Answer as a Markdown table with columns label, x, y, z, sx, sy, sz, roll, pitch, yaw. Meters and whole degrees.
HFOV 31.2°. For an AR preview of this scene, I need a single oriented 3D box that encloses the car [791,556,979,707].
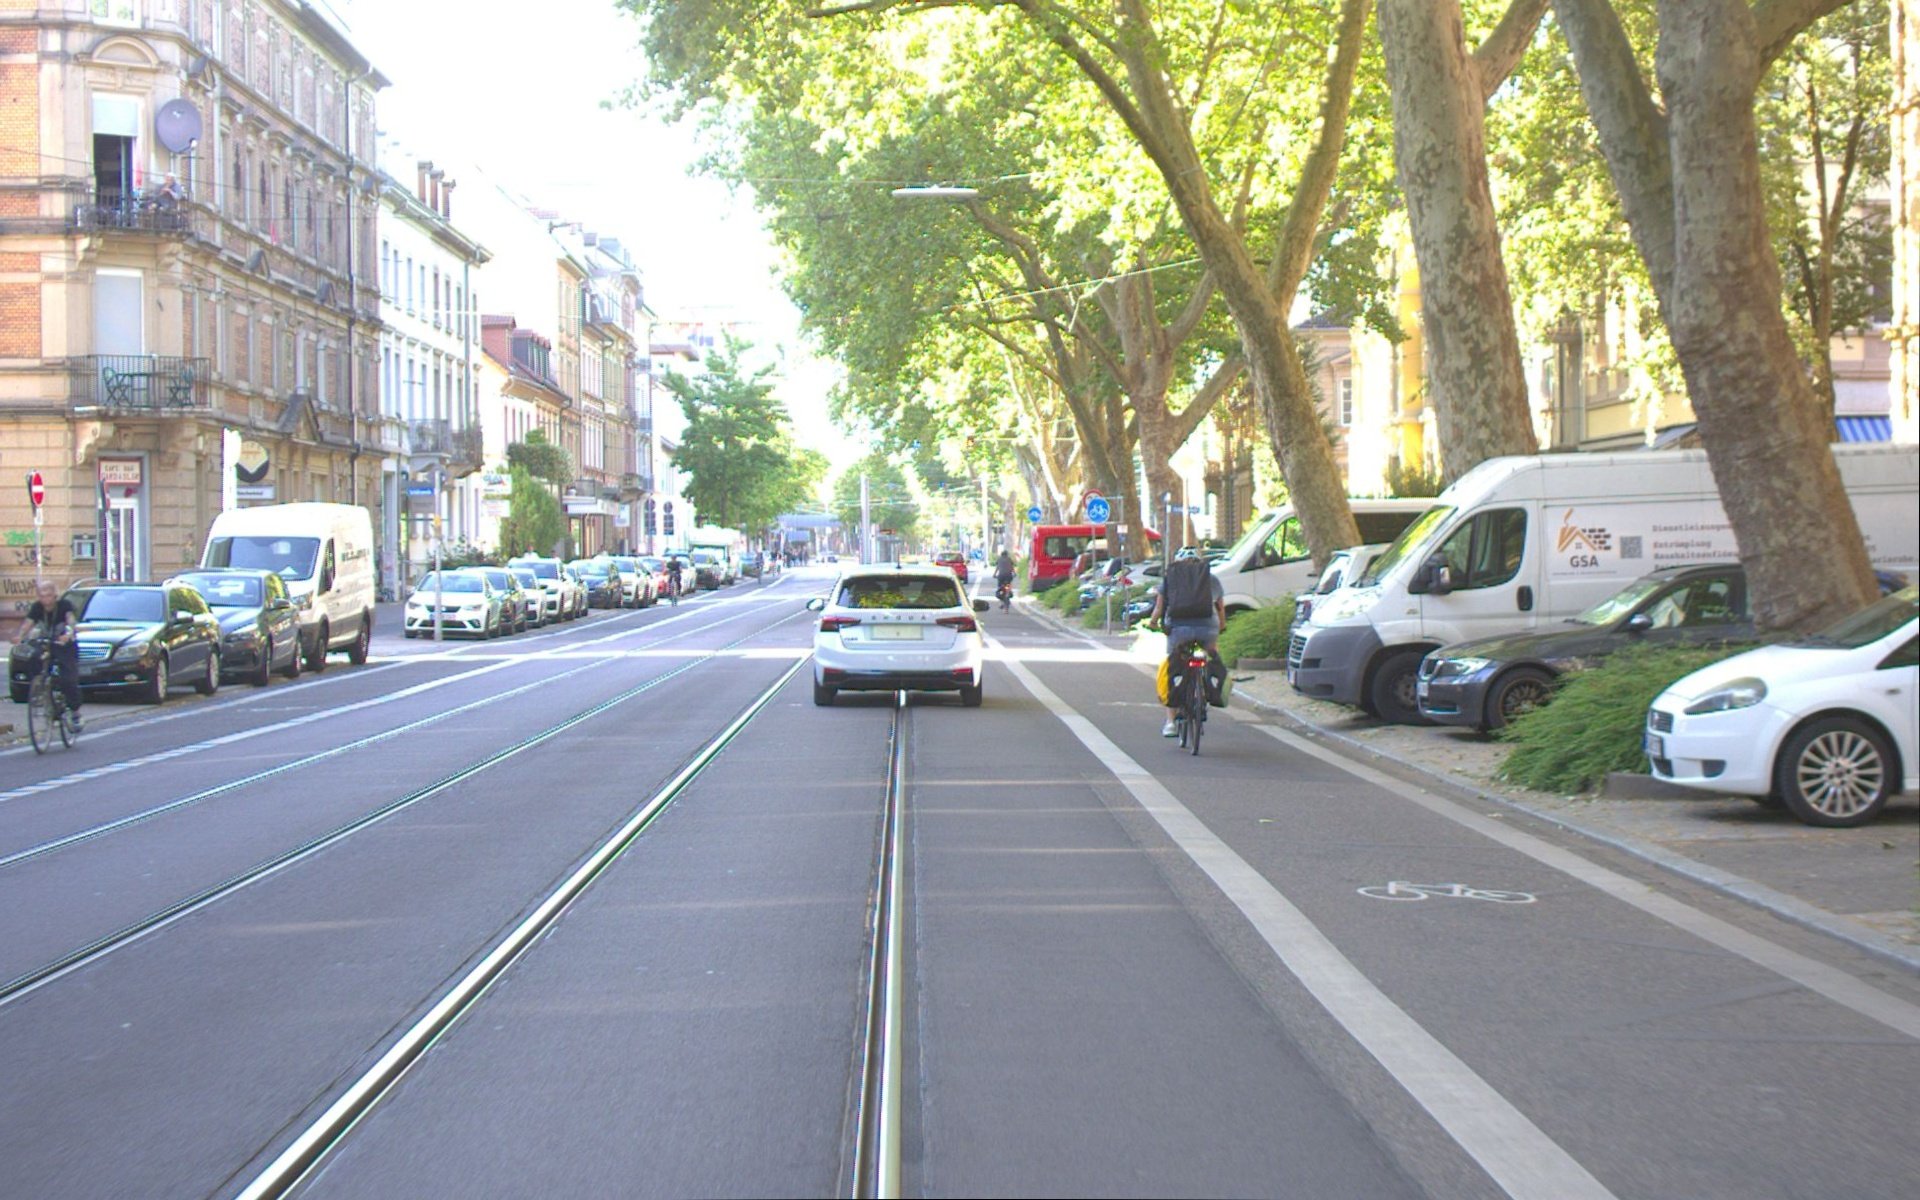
| label | x | y | z | sx | sy | sz | roll | pitch | yaw |
| --- | --- | --- | --- | --- | --- | --- | --- | --- | --- |
| car | -0.820 | 0.286 | 35.756 | 1.842 | 1.475 | 3.839 | 0 | 1 | -2 |

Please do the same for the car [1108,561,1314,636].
| label | x | y | z | sx | sy | sz | roll | pitch | yaw |
| --- | --- | --- | --- | --- | --- | --- | --- | --- | --- |
| car | 5.244 | -0.042 | 72.099 | 4.096 | 1.486 | 1.831 | -1 | 1 | -3 |

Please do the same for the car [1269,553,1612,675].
| label | x | y | z | sx | sy | sz | roll | pitch | yaw |
| --- | --- | --- | --- | --- | --- | --- | --- | --- | --- |
| car | 6.069 | 0.165 | 43.716 | 4.053 | 1.455 | 1.796 | -1 | 1 | -2 |

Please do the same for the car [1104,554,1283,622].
| label | x | y | z | sx | sy | sz | roll | pitch | yaw |
| --- | --- | --- | --- | --- | --- | --- | --- | --- | --- |
| car | 5.472 | -0.290 | 81.019 | 4.027 | 1.475 | 1.681 | -1 | 1 | -2 |

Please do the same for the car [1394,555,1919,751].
| label | x | y | z | sx | sy | sz | roll | pitch | yaw |
| --- | --- | --- | --- | --- | --- | --- | --- | --- | --- |
| car | 5.991 | 0.426 | 28.971 | 4.388 | 1.546 | 1.783 | 1 | 1 | -1 |

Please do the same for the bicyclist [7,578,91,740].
| label | x | y | z | sx | sy | sz | roll | pitch | yaw |
| --- | --- | --- | --- | --- | --- | --- | --- | --- | --- |
| bicyclist | -8.071 | 0.515 | 30.472 | 0.508 | 1.389 | 0.709 | -2 | 1 | -1 |

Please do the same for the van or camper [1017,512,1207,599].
| label | x | y | z | sx | sy | sz | roll | pitch | yaw |
| --- | --- | --- | --- | --- | --- | --- | --- | --- | --- |
| van or camper | 4.865 | -1.440 | 110.541 | 5.814 | 2.510 | 2.288 | -2 | 2 | -2 |

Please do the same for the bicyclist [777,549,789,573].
| label | x | y | z | sx | sy | sz | roll | pitch | yaw |
| --- | --- | --- | --- | --- | --- | --- | --- | --- | --- |
| bicyclist | -11.461 | -2.524 | 222.642 | 0.638 | 1.498 | 1.070 | -2 | 1 | 1 |

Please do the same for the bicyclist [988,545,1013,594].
| label | x | y | z | sx | sy | sz | roll | pitch | yaw |
| --- | --- | --- | --- | --- | --- | --- | --- | --- | --- |
| bicyclist | 1.126 | -0.854 | 95.679 | 0.679 | 1.334 | 0.525 | 1 | 1 | 0 |

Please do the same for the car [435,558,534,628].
| label | x | y | z | sx | sy | sz | roll | pitch | yaw |
| --- | --- | --- | --- | --- | --- | --- | --- | --- | --- |
| car | -10.958 | -0.186 | 79.490 | 1.740 | 1.557 | 4.787 | 1 | 1 | -2 |

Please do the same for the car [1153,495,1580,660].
| label | x | y | z | sx | sy | sz | roll | pitch | yaw |
| --- | --- | --- | --- | --- | --- | --- | --- | --- | --- |
| car | 5.853 | -0.345 | 50.093 | 5.991 | 2.274 | 2.006 | -1 | 2 | 1 |

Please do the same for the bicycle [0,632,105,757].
| label | x | y | z | sx | sy | sz | roll | pitch | yaw |
| --- | --- | --- | --- | --- | --- | --- | --- | --- | --- |
| bicycle | -8.058 | 0.824 | 30.551 | 0.417 | 1.014 | 1.947 | -2 | 1 | 0 |

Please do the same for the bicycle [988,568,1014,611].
| label | x | y | z | sx | sy | sz | roll | pitch | yaw |
| --- | --- | --- | --- | --- | --- | --- | --- | --- | --- |
| bicycle | 1.137 | -0.308 | 95.746 | 0.680 | 1.151 | 2.964 | 1 | 1 | 0 |

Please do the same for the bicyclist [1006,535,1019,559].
| label | x | y | z | sx | sy | sz | roll | pitch | yaw |
| --- | --- | --- | --- | --- | --- | --- | --- | --- | --- |
| bicyclist | 3.528 | -3.564 | 229.232 | 0.737 | 1.583 | 0.586 | -1 | 1 | 12 |

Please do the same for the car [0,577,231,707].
| label | x | y | z | sx | sy | sz | roll | pitch | yaw |
| --- | --- | --- | --- | --- | --- | --- | --- | --- | --- |
| car | -10.244 | 0.470 | 41.790 | 1.718 | 1.451 | 4.572 | -1 | 1 | 1 |

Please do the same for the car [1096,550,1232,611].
| label | x | y | z | sx | sy | sz | roll | pitch | yaw |
| --- | --- | --- | --- | --- | --- | --- | --- | --- | --- |
| car | 5.558 | -0.524 | 93.851 | 3.595 | 1.594 | 1.541 | -1 | 0 | 0 |

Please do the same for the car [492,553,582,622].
| label | x | y | z | sx | sy | sz | roll | pitch | yaw |
| --- | --- | --- | --- | --- | --- | --- | --- | --- | --- |
| car | -10.997 | -0.346 | 89.695 | 1.786 | 1.717 | 4.719 | 1 | 1 | 0 |

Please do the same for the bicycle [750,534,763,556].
| label | x | y | z | sx | sy | sz | roll | pitch | yaw |
| --- | --- | --- | --- | --- | --- | --- | --- | --- | --- |
| bicycle | -10.339 | -2.786 | 174.740 | 0.481 | 1.082 | 1.846 | -1 | 1 | 0 |

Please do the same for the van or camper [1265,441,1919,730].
| label | x | y | z | sx | sy | sz | roll | pitch | yaw |
| --- | --- | --- | --- | --- | --- | --- | --- | --- | --- |
| van or camper | 5.952 | -0.147 | 31.687 | 6.032 | 2.482 | 2.107 | -1 | 1 | -1 |

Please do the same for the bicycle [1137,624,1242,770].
| label | x | y | z | sx | sy | sz | roll | pitch | yaw |
| --- | --- | --- | --- | --- | --- | --- | --- | --- | --- |
| bicycle | 1.771 | 0.731 | 26.846 | 0.595 | 1.001 | 2.511 | 2 | 1 | 0 |

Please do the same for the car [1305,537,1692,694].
| label | x | y | z | sx | sy | sz | roll | pitch | yaw |
| --- | --- | --- | --- | --- | --- | --- | --- | --- | --- |
| car | 5.966 | 0.162 | 38.394 | 3.954 | 1.650 | 1.796 | -1 | 0 | -3 |

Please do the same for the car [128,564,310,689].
| label | x | y | z | sx | sy | sz | roll | pitch | yaw |
| --- | --- | --- | --- | --- | --- | --- | --- | --- | --- |
| car | -10.245 | 0.324 | 47.785 | 1.718 | 1.626 | 4.347 | -1 | 1 | -2 |

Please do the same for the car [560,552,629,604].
| label | x | y | z | sx | sy | sz | roll | pitch | yaw |
| --- | --- | --- | --- | --- | --- | --- | --- | --- | --- |
| car | -11.156 | -0.695 | 105.136 | 1.554 | 1.510 | 3.924 | -1 | 1 | 2 |

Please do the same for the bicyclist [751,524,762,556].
| label | x | y | z | sx | sy | sz | roll | pitch | yaw |
| --- | --- | --- | --- | --- | --- | --- | --- | --- | --- |
| bicyclist | -10.346 | -3.072 | 174.963 | 0.473 | 1.630 | 0.800 | -1 | 1 | 0 |

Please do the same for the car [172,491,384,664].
| label | x | y | z | sx | sy | sz | roll | pitch | yaw |
| --- | --- | --- | --- | --- | --- | --- | --- | --- | --- |
| car | -10.515 | -0.372 | 53.458 | 2.065 | 2.527 | 5.667 | -1 | 1 | 1 |

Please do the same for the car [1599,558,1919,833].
| label | x | y | z | sx | sy | sz | roll | pitch | yaw |
| --- | --- | --- | --- | --- | --- | --- | --- | --- | --- |
| car | 5.831 | 0.497 | 19.848 | 3.954 | 1.475 | 1.688 | -1 | 1 | 1 |

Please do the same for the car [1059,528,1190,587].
| label | x | y | z | sx | sy | sz | roll | pitch | yaw |
| --- | --- | --- | --- | --- | --- | --- | --- | --- | --- |
| car | 5.066 | -1.297 | 106.061 | 3.818 | 1.643 | 1.767 | -2 | 0 | -3 |

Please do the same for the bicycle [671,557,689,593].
| label | x | y | z | sx | sy | sz | roll | pitch | yaw |
| --- | --- | --- | --- | --- | --- | --- | --- | --- | --- |
| bicycle | -9.167 | -0.817 | 112.580 | 0.421 | 1.146 | 2.232 | -1 | 0 | -1 |

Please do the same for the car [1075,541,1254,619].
| label | x | y | z | sx | sy | sz | roll | pitch | yaw |
| --- | --- | --- | --- | --- | --- | --- | --- | --- | --- |
| car | 5.144 | -0.520 | 86.903 | 4.261 | 1.713 | 1.849 | -3 | 1 | -3 |

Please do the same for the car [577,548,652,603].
| label | x | y | z | sx | sy | sz | roll | pitch | yaw |
| --- | --- | --- | --- | --- | --- | --- | --- | --- | --- |
| car | -11.041 | -0.810 | 110.055 | 1.856 | 1.698 | 4.763 | -1 | 1 | 0 |

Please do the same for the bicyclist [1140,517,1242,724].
| label | x | y | z | sx | sy | sz | roll | pitch | yaw |
| --- | --- | --- | --- | --- | --- | --- | --- | --- | --- |
| bicyclist | 1.805 | 0.151 | 26.931 | 0.614 | 1.547 | 0.935 | 4 | 1 | 0 |

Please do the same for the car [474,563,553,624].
| label | x | y | z | sx | sy | sz | roll | pitch | yaw |
| --- | --- | --- | --- | --- | --- | --- | --- | --- | --- |
| car | -10.937 | -0.176 | 84.400 | 1.699 | 1.415 | 4.001 | 1 | 1 | -5 |

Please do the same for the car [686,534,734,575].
| label | x | y | z | sx | sy | sz | roll | pitch | yaw |
| --- | --- | --- | --- | --- | --- | --- | --- | --- | --- |
| car | -11.501 | -2.115 | 158.324 | 1.964 | 1.775 | 4.938 | 2 | 1 | -2 |

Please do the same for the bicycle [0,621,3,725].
| label | x | y | z | sx | sy | sz | roll | pitch | yaw |
| --- | --- | --- | --- | --- | --- | --- | --- | --- | --- |
| bicycle | -10.476 | 0.710 | 34.078 | 1.894 | 1.034 | 0.402 | 1 | 1 | 6 |

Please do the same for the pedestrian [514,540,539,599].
| label | x | y | z | sx | sy | sz | roll | pitch | yaw |
| --- | --- | --- | --- | --- | --- | --- | --- | --- | --- |
| pedestrian | -14.968 | -1.051 | 118.783 | 0.759 | 2.007 | 0.830 | 0 | 1 | -2 |

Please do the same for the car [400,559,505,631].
| label | x | y | z | sx | sy | sz | roll | pitch | yaw |
| --- | --- | --- | --- | --- | --- | --- | --- | --- | --- |
| car | -10.862 | -0.129 | 73.804 | 1.740 | 1.486 | 4.045 | 1 | 1 | -2 |

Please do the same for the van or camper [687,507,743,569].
| label | x | y | z | sx | sy | sz | roll | pitch | yaw |
| --- | --- | --- | --- | --- | --- | --- | --- | --- | --- |
| van or camper | -12.573 | -3.190 | 177.036 | 2.216 | 3.129 | 7.113 | 0 | 1 | 1 |

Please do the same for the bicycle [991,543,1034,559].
| label | x | y | z | sx | sy | sz | roll | pitch | yaw |
| --- | --- | --- | --- | --- | --- | --- | --- | --- | --- |
| bicycle | 3.512 | -3.255 | 229.211 | 2.771 | 0.996 | 0.592 | 1 | 1 | 15 |

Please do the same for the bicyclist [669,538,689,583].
| label | x | y | z | sx | sy | sz | roll | pitch | yaw |
| --- | --- | --- | --- | --- | --- | --- | --- | --- | --- |
| bicyclist | -9.196 | -1.298 | 112.547 | 0.582 | 1.477 | 0.807 | -1 | 1 | -1 |
